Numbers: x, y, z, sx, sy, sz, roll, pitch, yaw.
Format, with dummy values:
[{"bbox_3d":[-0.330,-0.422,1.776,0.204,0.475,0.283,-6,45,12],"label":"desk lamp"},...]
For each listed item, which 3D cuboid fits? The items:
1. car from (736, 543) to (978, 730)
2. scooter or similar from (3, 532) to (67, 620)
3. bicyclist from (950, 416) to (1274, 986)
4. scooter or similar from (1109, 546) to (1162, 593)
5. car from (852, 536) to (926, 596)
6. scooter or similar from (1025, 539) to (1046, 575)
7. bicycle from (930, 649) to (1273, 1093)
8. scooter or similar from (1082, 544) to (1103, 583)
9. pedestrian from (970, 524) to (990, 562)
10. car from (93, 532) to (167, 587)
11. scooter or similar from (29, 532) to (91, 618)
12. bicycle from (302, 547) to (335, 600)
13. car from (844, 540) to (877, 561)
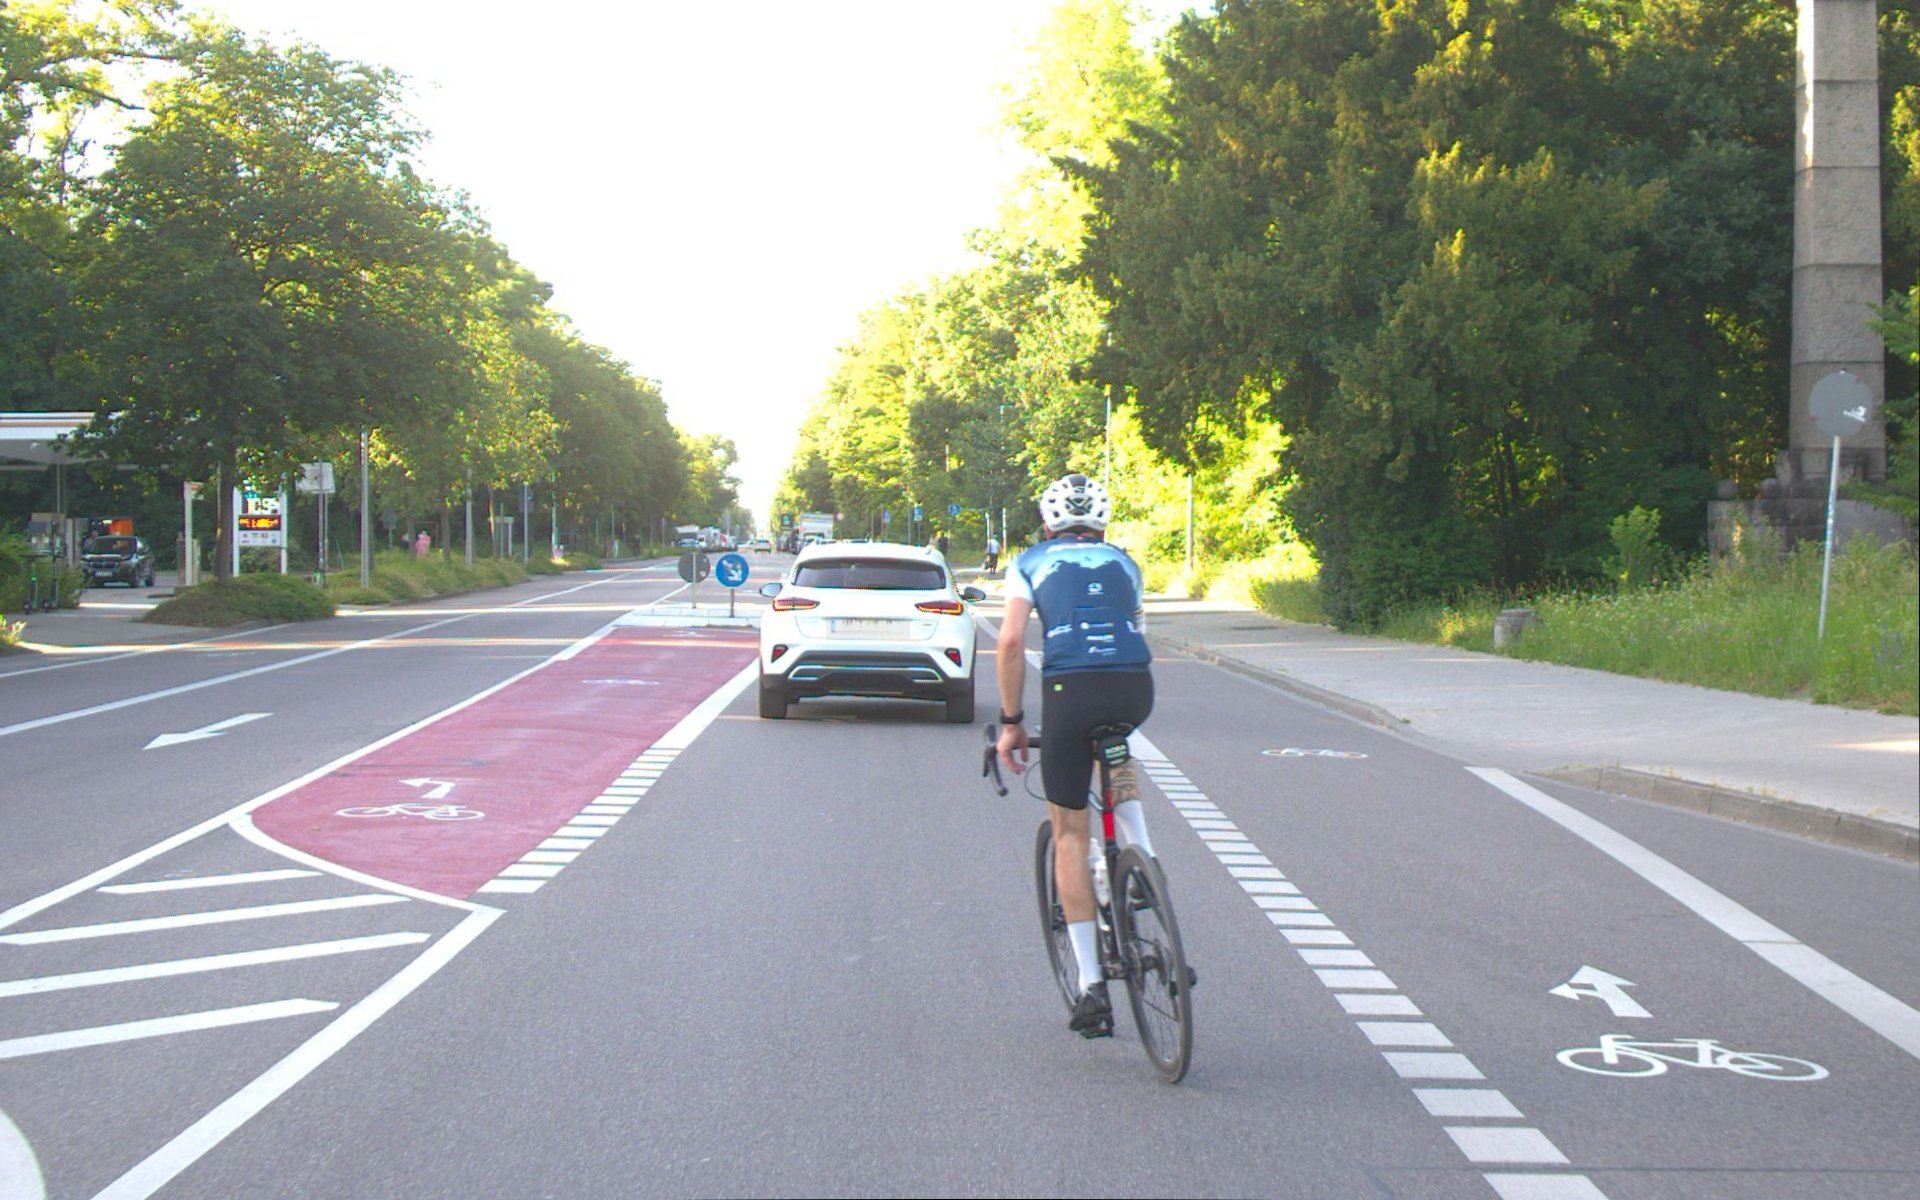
[{"bbox_3d":[-0.958,0.269,29.808,1.761,1.454,3.819,2,1,-6],"label":"car"},{"bbox_3d":[-18.157,-0.485,67.532,0.827,1.711,1.741,0,1,-2],"label":"scooter or similar"},{"bbox_3d":[0.442,0.272,10.010,0.860,1.562,0.881,2,1,3],"label":"bicyclist"},{"bbox_3d":[4.696,-0.829,91.993,0.534,1.245,1.537,1,1,44],"label":"scooter or similar"},{"bbox_3d":[-1.732,-0.846,84.308,1.676,1.413,3.574,0,1,1],"label":"car"},{"bbox_3d":[2.984,-1.688,135.579,0.682,1.418,1.682,0,1,-3],"label":"scooter or similar"},{"bbox_3d":[0.431,0.742,10.292,0.891,1.091,2.136,2,1,3],"label":"bicycle"},{"bbox_3d":[4.228,-1.174,109.841,0.533,1.245,1.541,0,1,-3],"label":"scooter or similar"},{"bbox_3d":[0.827,-2.362,142.065,0.755,1.558,0.802,0,1,-4],"label":"pedestrian"},{"bbox_3d":[-25.912,-1.286,107.380,1.710,1.685,4.455,0,1,-7],"label":"car"},{"bbox_3d":[-18.178,-0.510,69.476,0.827,1.711,1.741,0,1,-2],"label":"scooter or similar"},{"bbox_3d":[-15.559,-0.647,83.388,0.654,1.246,2.160,0,1,-8],"label":"bicycle"},{"bbox_3d":[-6.290,-3.154,217.715,1.993,1.322,4.001,0,1,-3],"label":"car"}]
